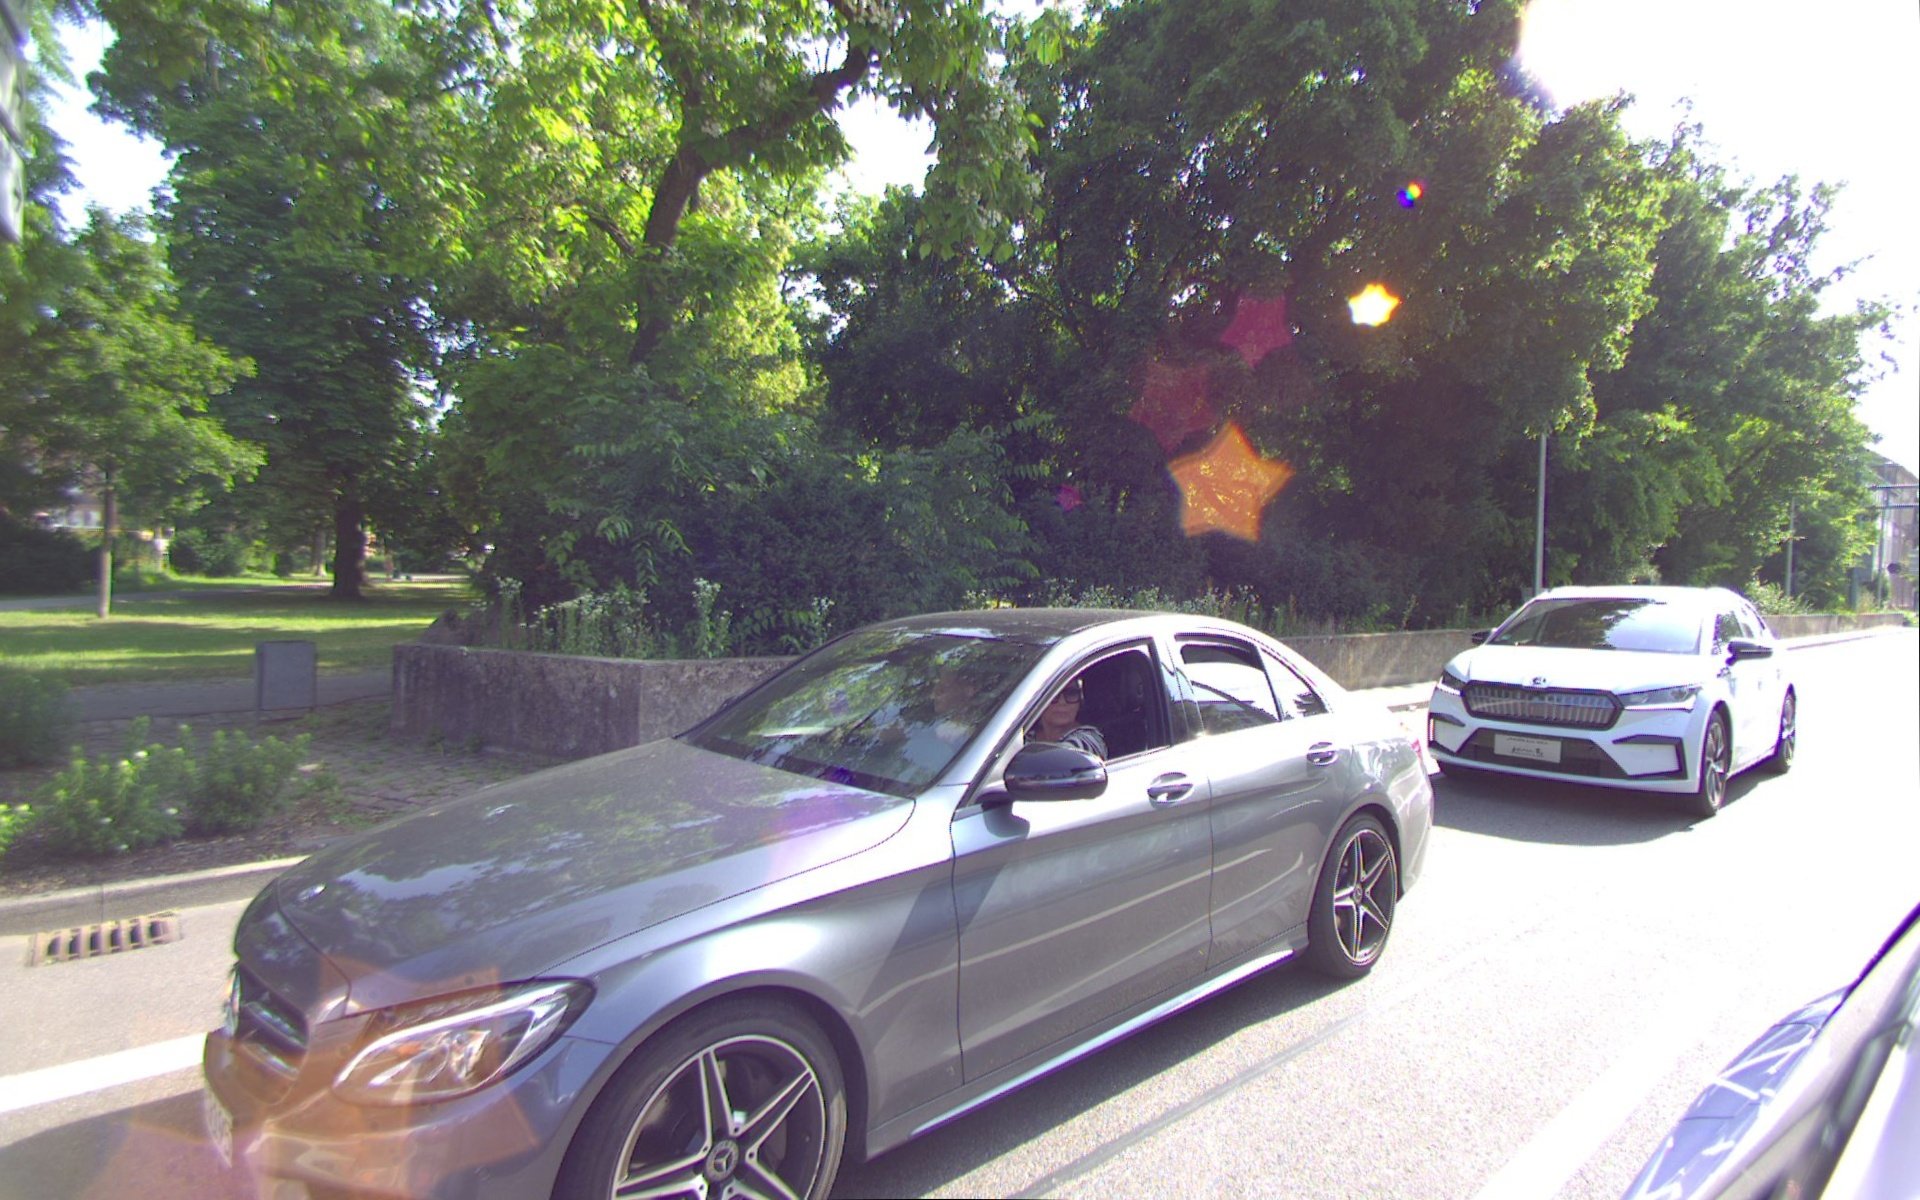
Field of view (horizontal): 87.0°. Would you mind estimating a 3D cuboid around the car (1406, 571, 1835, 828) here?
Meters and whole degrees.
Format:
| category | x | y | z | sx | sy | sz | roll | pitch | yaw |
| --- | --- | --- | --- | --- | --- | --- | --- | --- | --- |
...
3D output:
| category | x | y | z | sx | sy | sz | roll | pitch | yaw |
| --- | --- | --- | --- | --- | --- | --- | --- | --- | --- |
| car | 5.594 | 0.597 | 8.358 | 4.176 | 1.590 | 1.896 | 0 | 1 | -41 |
